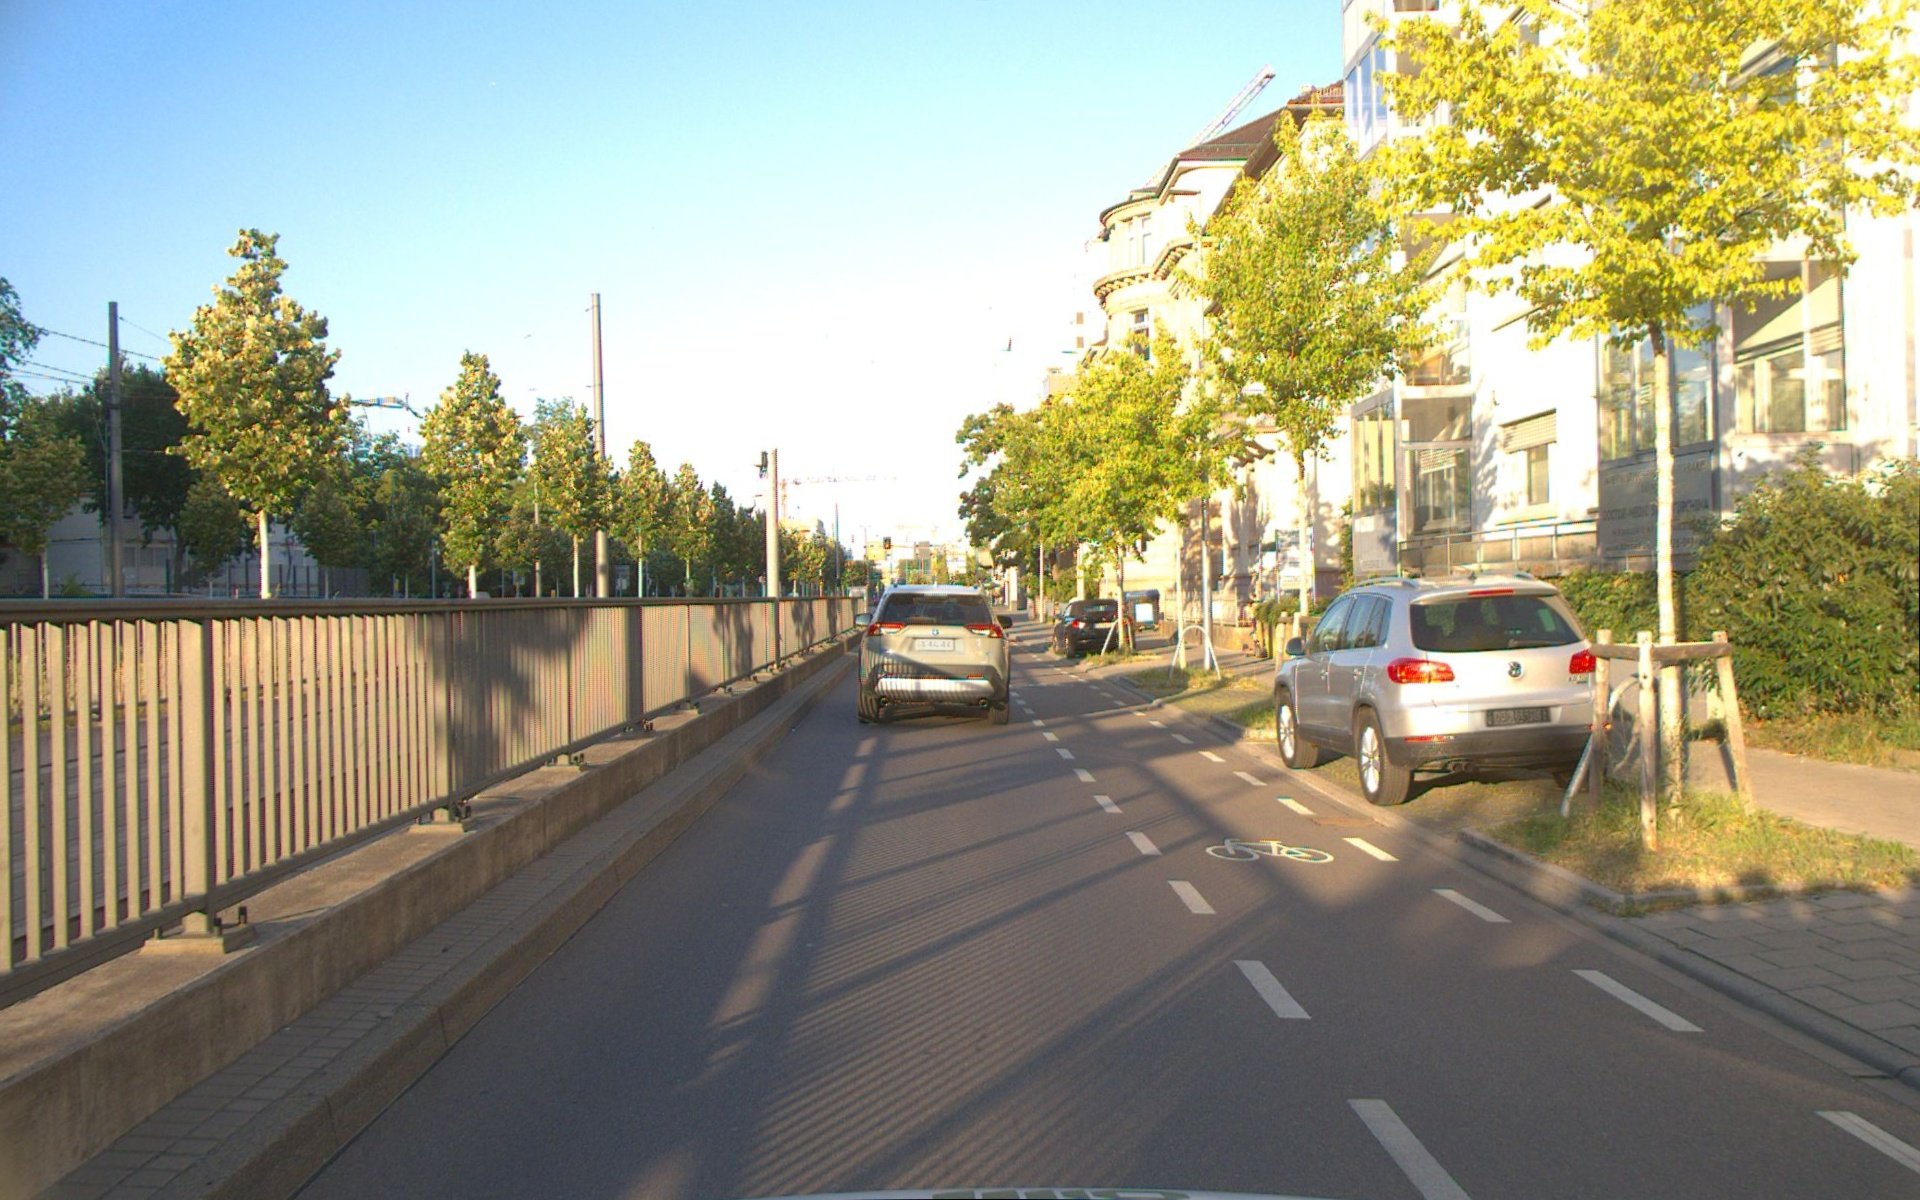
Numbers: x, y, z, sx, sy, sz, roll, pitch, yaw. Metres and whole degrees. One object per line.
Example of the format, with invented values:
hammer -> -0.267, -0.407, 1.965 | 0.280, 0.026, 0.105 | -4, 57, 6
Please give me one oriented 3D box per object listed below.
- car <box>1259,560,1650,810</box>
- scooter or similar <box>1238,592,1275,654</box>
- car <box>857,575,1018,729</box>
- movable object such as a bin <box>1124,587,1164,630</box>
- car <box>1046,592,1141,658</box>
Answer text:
car -> 3.909, 0.585, 13.888 | 1.817, 1.736, 4.252 | -1, 0, -3
scooter or similar -> 6.266, 0.487, 35.014 | 0.481, 1.280, 1.207 | 0, -1, -4
car -> -0.352, 0.596, 21.010 | 1.821, 1.744, 4.190 | 1, 0, -3
movable object such as a bin -> 6.552, 0.298, 59.066 | 1.235, 1.487, 1.123 | -1, 0, -4
car -> 3.425, 0.613, 43.166 | 1.757, 1.496, 4.442 | -4, 0, -4
